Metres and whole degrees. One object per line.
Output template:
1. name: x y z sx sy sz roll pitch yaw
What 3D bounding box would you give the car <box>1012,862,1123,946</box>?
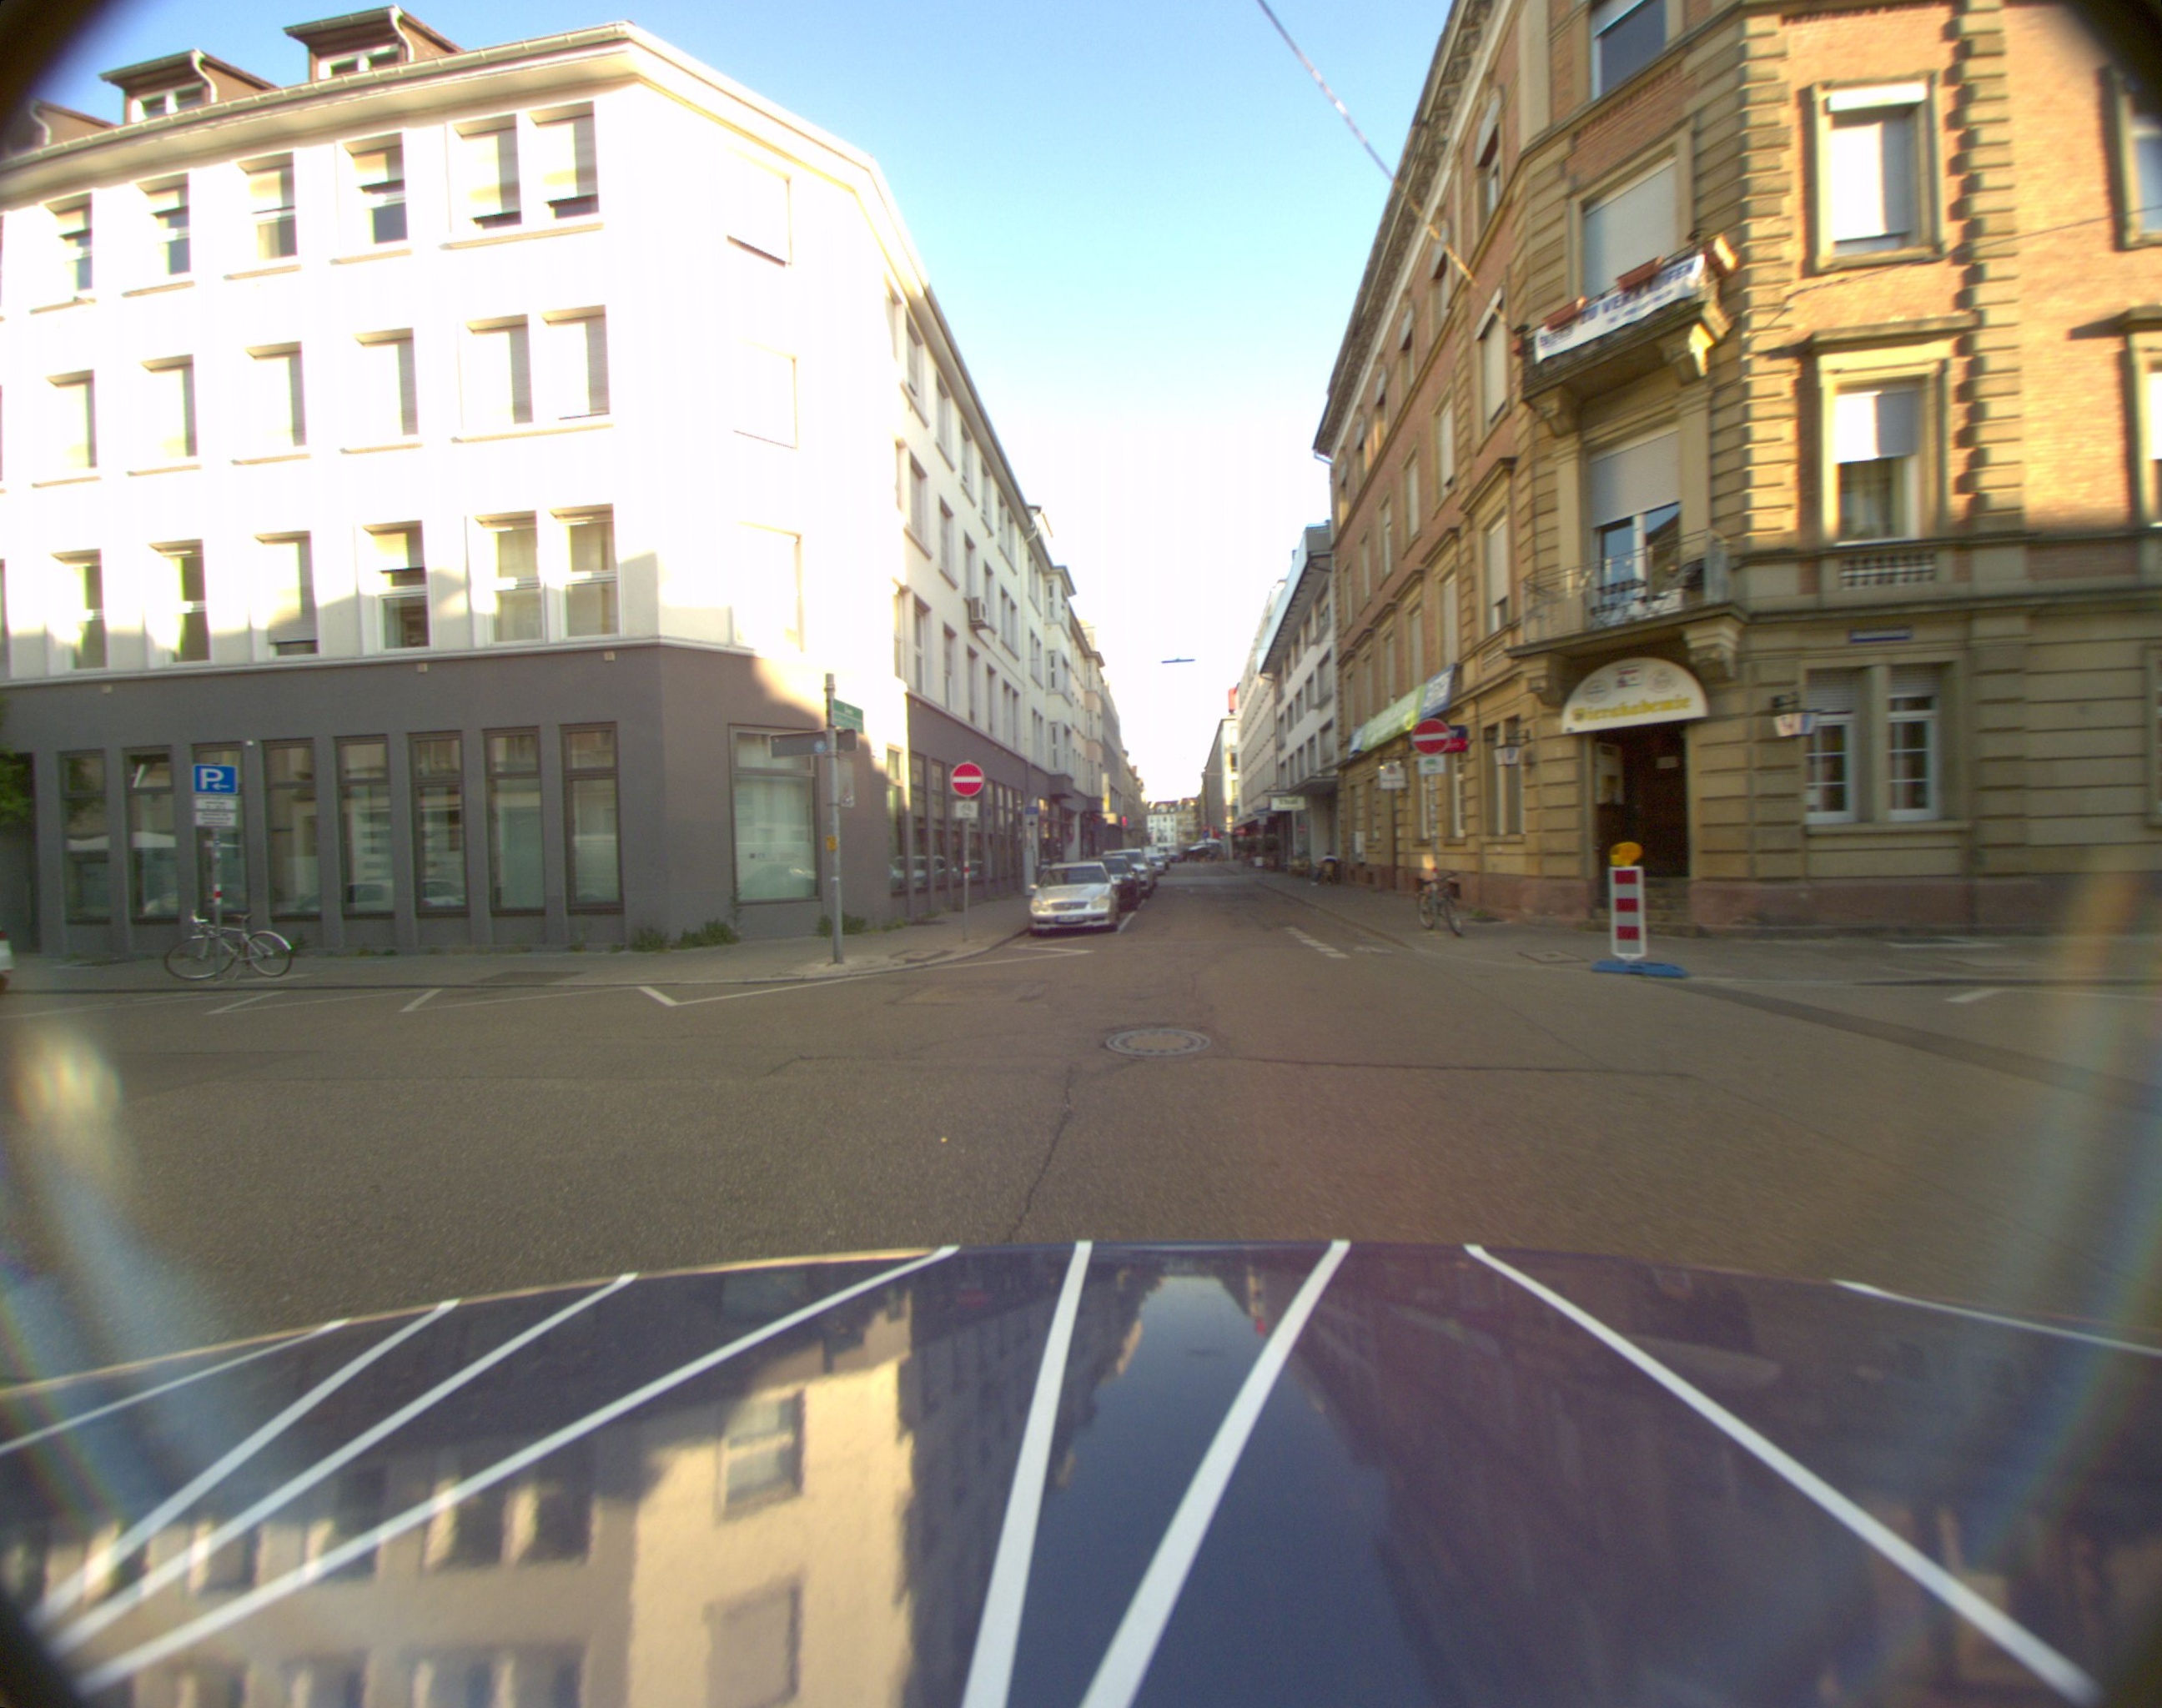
1. car: -0.131 0.939 16.059 1.754 1.393 4.490 -3 0 6

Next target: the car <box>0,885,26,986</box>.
1. car: -17.085 1.177 10.229 3.877 1.405 1.664 -1 0 6

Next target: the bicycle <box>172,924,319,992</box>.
1. bicycle: -12.192 1.509 11.103 1.641 0.900 0.598 -2 1 8

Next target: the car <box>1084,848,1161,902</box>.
1. car: 1.604 0.692 27.252 2.334 1.734 4.490 -1 0 8

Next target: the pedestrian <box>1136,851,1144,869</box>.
1. pedestrian: 5.931 0.591 76.740 0.711 1.751 0.885 -1 0 1

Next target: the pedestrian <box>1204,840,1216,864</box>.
1. pedestrian: 14.415 -0.238 85.030 1.246 2.599 1.468 -1 1 7

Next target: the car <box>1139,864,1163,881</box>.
1. car: 4.936 1.281 53.417 1.513 1.053 3.469 -1 0 8

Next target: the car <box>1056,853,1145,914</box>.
1. car: 0.660 0.769 21.578 2.012 1.515 4.120 -1 0 8

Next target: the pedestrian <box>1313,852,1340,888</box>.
1. pedestrian: 9.340 0.607 28.928 0.836 1.332 0.806 -1 1 28

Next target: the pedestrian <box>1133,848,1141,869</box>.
1. pedestrian: 5.737 0.451 78.382 0.726 2.078 0.805 -1 1 1

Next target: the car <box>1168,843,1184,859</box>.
1. car: 12.512 -0.360 100.317 1.998 2.002 4.001 -1 1 6

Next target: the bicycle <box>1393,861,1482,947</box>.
1. bicycle: 5.899 0.783 12.684 0.660 1.268 1.764 -5 0 4
